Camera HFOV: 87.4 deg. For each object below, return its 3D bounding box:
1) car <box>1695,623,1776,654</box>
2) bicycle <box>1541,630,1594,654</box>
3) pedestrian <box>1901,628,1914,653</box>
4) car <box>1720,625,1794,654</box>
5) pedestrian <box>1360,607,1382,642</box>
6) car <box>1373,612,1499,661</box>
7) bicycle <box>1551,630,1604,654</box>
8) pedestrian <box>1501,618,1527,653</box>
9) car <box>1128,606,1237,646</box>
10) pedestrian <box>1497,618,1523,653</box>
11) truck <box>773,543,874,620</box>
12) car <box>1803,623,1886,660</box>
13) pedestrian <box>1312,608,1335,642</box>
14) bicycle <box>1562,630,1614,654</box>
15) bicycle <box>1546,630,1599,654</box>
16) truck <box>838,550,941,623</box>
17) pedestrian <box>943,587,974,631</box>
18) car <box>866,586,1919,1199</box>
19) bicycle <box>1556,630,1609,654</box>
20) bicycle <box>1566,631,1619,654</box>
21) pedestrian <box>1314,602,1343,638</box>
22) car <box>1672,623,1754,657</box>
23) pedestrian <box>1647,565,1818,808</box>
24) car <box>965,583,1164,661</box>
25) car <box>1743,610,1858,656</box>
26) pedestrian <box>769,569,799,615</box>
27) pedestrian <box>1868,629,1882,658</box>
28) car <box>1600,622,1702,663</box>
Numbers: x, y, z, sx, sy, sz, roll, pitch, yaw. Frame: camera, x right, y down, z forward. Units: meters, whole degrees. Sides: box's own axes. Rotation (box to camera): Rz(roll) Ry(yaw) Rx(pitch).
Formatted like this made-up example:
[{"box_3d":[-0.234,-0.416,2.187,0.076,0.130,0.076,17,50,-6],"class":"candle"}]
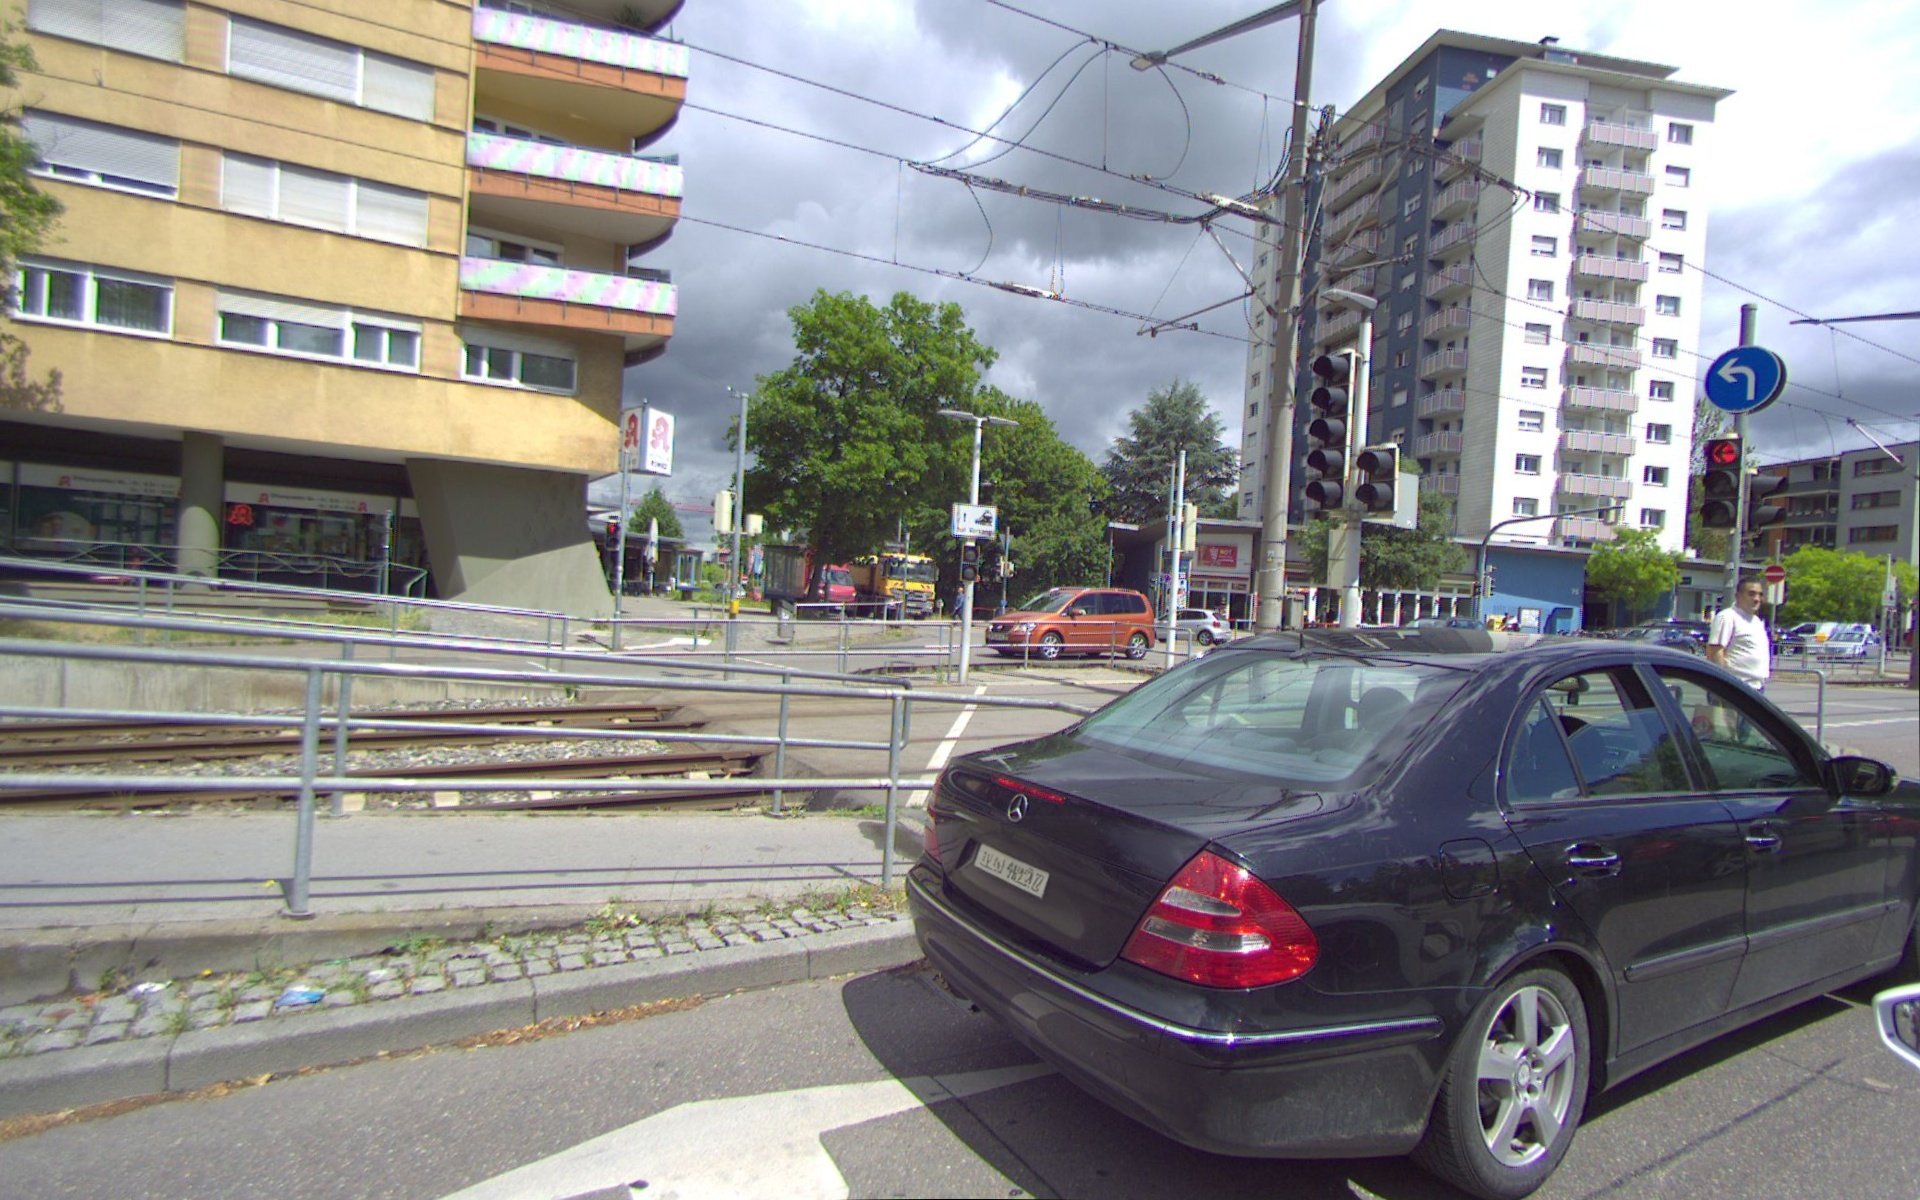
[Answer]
[{"box_3d":[42.787,2.094,55.551,1.921,1.558,4.220,2,0,13],"class":"car"},{"box_3d":[26.219,1.807,43.389,0.490,0.947,1.934,2,0,-35],"class":"bicycle"},{"box_3d":[66.982,2.889,71.004,0.401,1.739,0.542,1,1,-39],"class":"pedestrian"},{"box_3d":[45.345,2.230,57.259,1.754,1.439,4.219,2,0,16],"class":"car"},{"box_3d":[20.027,1.196,48.958,0.693,1.637,0.760,1,1,-43],"class":"pedestrian"},{"box_3d":[15.148,1.180,31.893,4.208,1.432,1.620,2,-1,-33],"class":"car"},{"box_3d":[27.006,1.834,43.948,0.490,0.947,1.934,2,0,-35],"class":"bicycle"},{"box_3d":[27.601,1.758,50.023,0.933,1.681,1.094,1,-1,39],"class":"pedestrian"},{"box_3d":[8.998,1.054,40.758,3.932,1.416,1.694,2,0,34],"class":"car"},{"box_3d":[26.885,1.731,49.092,0.933,1.681,1.094,1,-1,39],"class":"pedestrian"},{"box_3d":[-6.813,-0.850,48.811,2.692,3.320,8.877,1,0,-22],"class":"truck"},{"box_3d":[43.792,2.057,49.711,3.827,1.715,1.928,2,0,-30],"class":"car"},{"box_3d":[17.619,1.217,48.674,0.692,1.637,0.761,1,1,-39],"class":"pedestrian"},{"box_3d":[27.805,1.862,44.502,0.490,0.947,1.934,2,0,-35],"class":"bicycle"},{"box_3d":[26.595,1.820,43.659,0.490,0.947,1.934,2,0,-35],"class":"bicycle"},{"box_3d":[-3.602,-0.621,49.197,2.733,3.244,7.443,1,0,-23],"class":"truck"},{"box_3d":[-0.070,0.371,40.395,0.773,1.636,0.758,6,2,-35],"class":"pedestrian"},{"box_3d":[2.059,0.762,3.774,4.490,1.481,1.720,2,0,-30],"class":"car"},{"box_3d":[27.392,1.848,44.220,0.490,0.947,1.934,2,0,-35],"class":"bicycle"},{"box_3d":[28.181,1.875,44.799,0.490,0.947,1.934,2,0,-35],"class":"bicycle"},{"box_3d":[20.378,1.108,55.530,1.200,1.942,0.860,1,1,-30],"class":"pedestrian"},{"box_3d":[40.149,2.106,53.693,1.921,1.591,4.220,2,0,13],"class":"car"},{"box_3d":[6.228,0.649,8.116,0.734,1.832,0.863,1,1,-33],"class":"pedestrian"},{"box_3d":[2.490,0.527,23.522,4.415,1.656,1.981,1,-1,-35],"class":"car"},{"box_3d":[49.791,1.887,59.760,2.776,2.512,6.724,2,0,17],"class":"car"},{"box_3d":[-6.527,-0.293,37.167,0.753,1.638,0.777,5,5,37],"class":"pedestrian"},{"box_3d":[57.392,2.719,63.014,0.663,1.739,0.542,1,1,-40],"class":"pedestrian"},{"box_3d":[26.758,1.652,38.863,4.446,1.418,1.625,2,0,-33],"class":"car"}]
